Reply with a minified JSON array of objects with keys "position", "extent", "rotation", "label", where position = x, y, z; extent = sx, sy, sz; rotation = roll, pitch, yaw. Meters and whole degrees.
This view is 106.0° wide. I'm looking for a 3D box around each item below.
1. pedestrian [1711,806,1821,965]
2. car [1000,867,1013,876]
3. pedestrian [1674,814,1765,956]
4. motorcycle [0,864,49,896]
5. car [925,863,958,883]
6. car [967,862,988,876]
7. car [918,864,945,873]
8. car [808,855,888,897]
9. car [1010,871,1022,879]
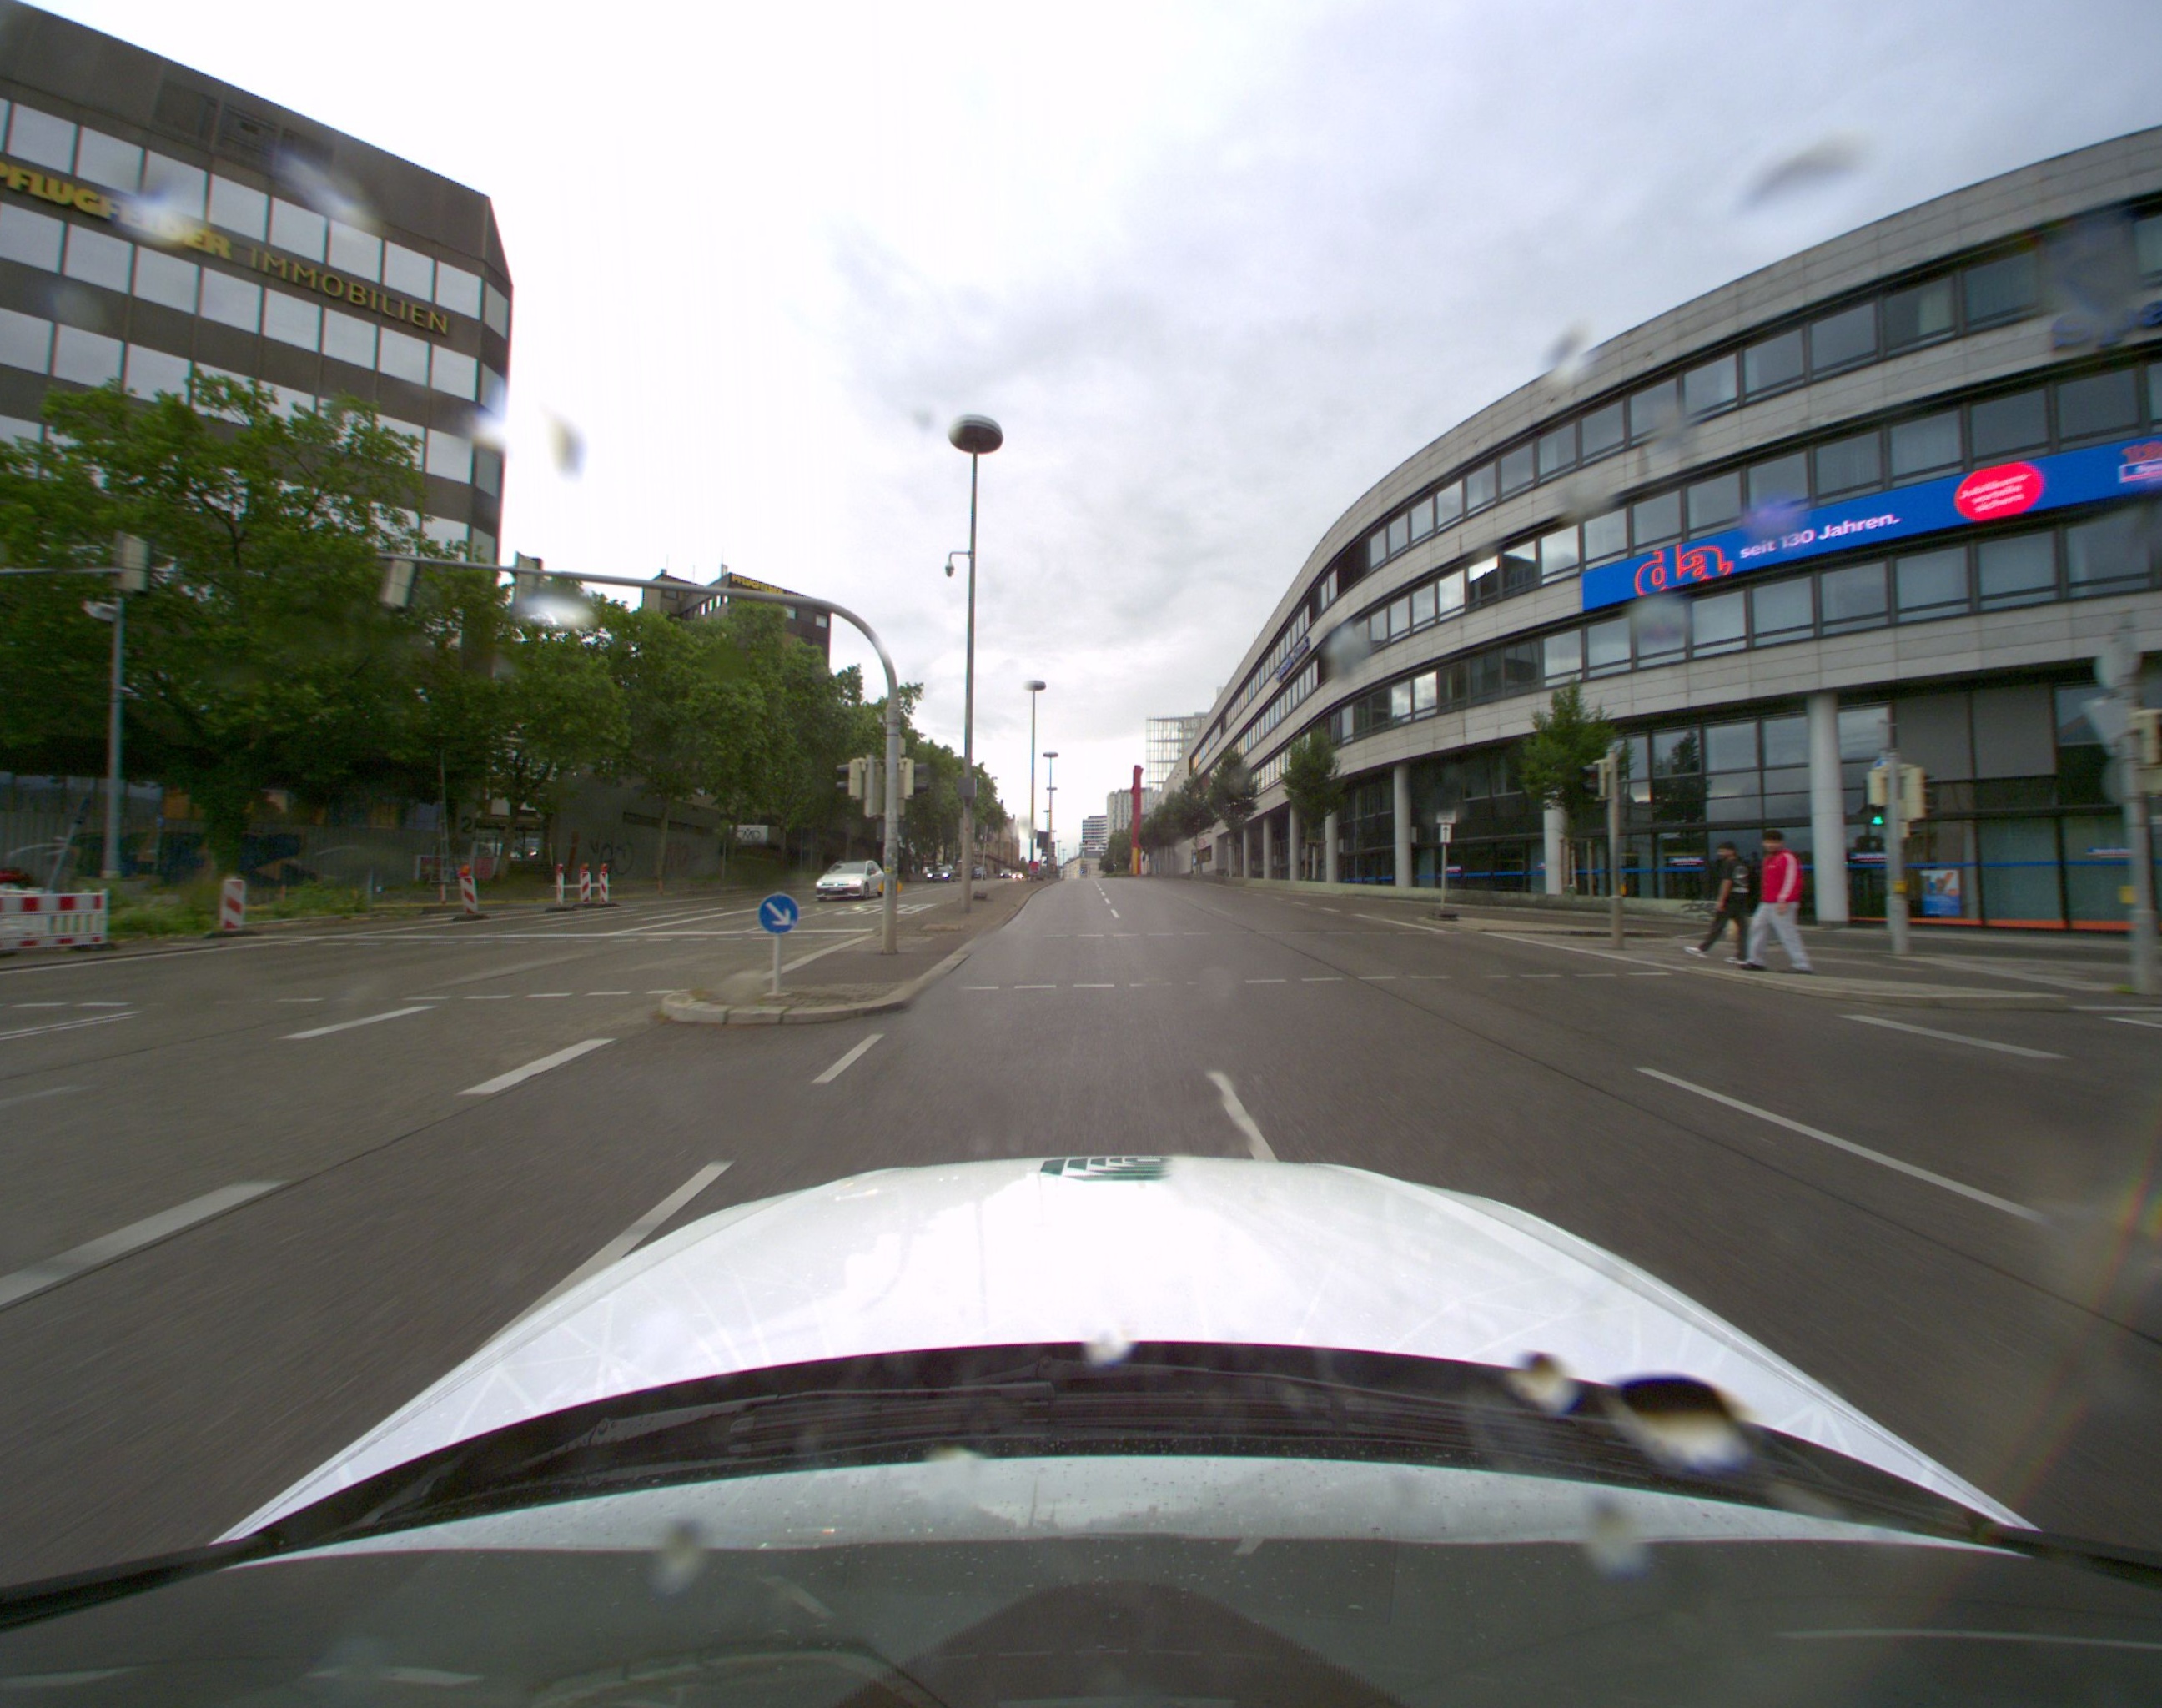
[{"position":[8.640,0.393,10.326],"extent":[0.832,1.905,0.866],"rotation":[-1,-3,26],"label":"pedestrian"},{"position":[-11.371,2.680,124.411],"extent":[1.683,1.410,3.994],"rotation":[-1,-2,-3],"label":"car"},{"position":[8.966,0.430,11.475],"extent":[0.833,1.905,0.736],"rotation":[-1,-2,26],"label":"pedestrian"},{"position":[-35.799,0.857,26.800],"extent":[2.192,1.037,0.560],"rotation":[1,-1,-35],"label":"motorcycle"},{"position":[-10.789,1.469,63.391],"extent":[1.801,1.448,4.339],"rotation":[-1,0,0],"label":"car"},{"position":[-11.342,1.677,89.422],"extent":[1.602,1.473,4.068],"rotation":[-1,-1,1],"label":"car"},{"position":[-25.801,2.462,140.590],"extent":[1.801,1.511,4.606],"rotation":[-4,-4,38],"label":"car"},{"position":[-8.800,0.809,31.146],"extent":[1.755,1.461,4.359],"rotation":[-1,0,0],"label":"car"},{"position":[-12.787,4.109,160.220],"extent":[1.812,1.403,4.001],"rotation":[-2,-3,2],"label":"car"}]
